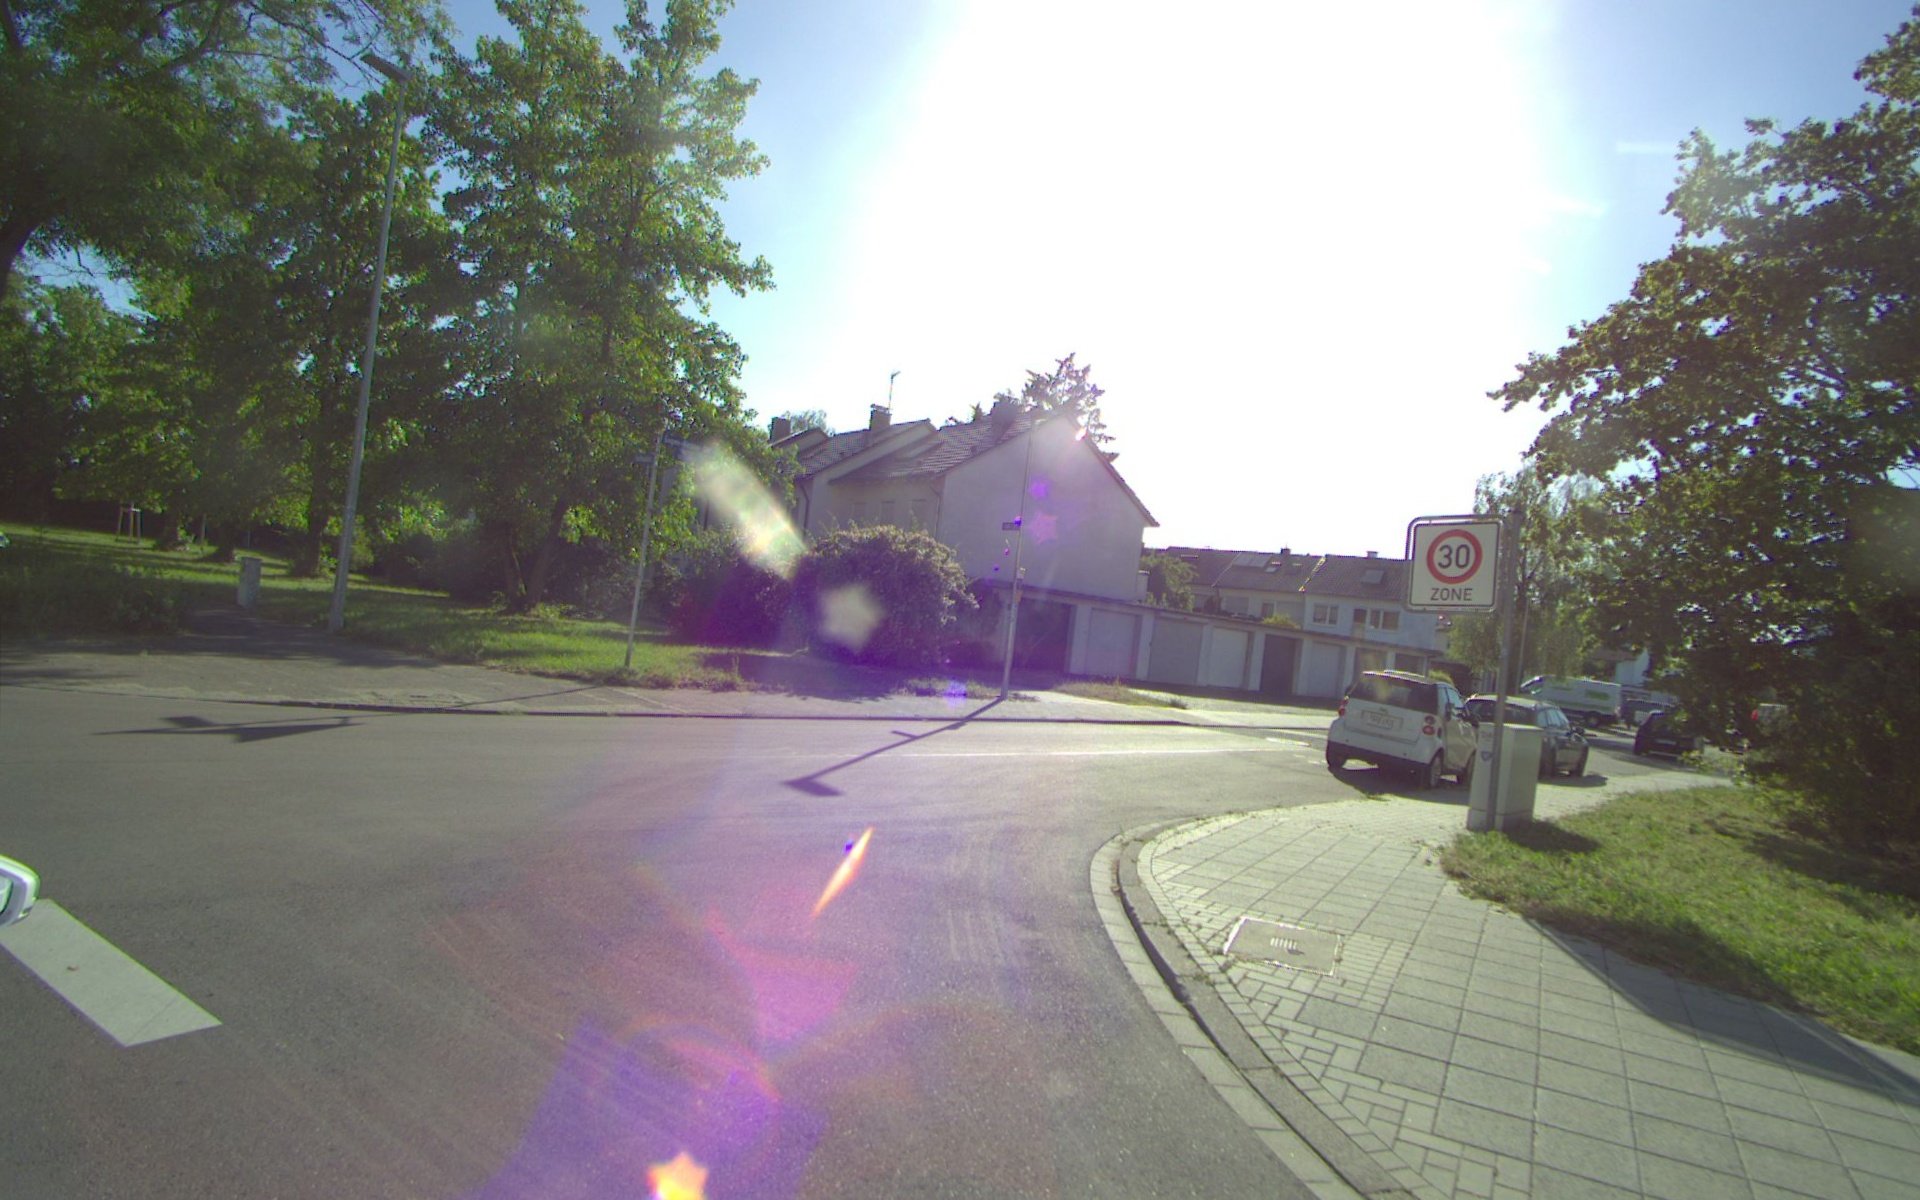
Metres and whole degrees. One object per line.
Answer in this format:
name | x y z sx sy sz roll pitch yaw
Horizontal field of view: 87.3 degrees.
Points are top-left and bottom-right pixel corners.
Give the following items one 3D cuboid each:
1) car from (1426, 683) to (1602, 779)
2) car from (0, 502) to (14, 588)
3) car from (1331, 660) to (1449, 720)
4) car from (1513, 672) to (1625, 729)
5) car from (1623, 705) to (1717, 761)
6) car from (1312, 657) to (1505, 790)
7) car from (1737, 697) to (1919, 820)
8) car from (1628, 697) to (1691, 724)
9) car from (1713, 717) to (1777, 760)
car | 11.012 2.567 19.845 1.942 1.427 4.476 6 -2 43
car | -19.784 -1.290 17.236 1.978 1.567 4.789 6 -1 32
car | 16.014 3.336 37.587 1.659 1.507 3.554 7 2 -37
car | 33.536 5.511 55.450 4.995 2.428 1.994 6 -1 36
car | 22.895 4.272 32.372 1.830 1.427 4.225 6 -2 43
car | 6.964 1.881 15.499 1.677 1.583 2.949 10 1 43
car | 17.677 3.111 19.412 1.689 1.892 3.949 7 -1 -45
car | 56.148 8.876 80.805 3.936 1.570 1.995 6 -1 34
car | 35.451 6.244 45.383 1.830 1.579 4.225 6 -2 43
